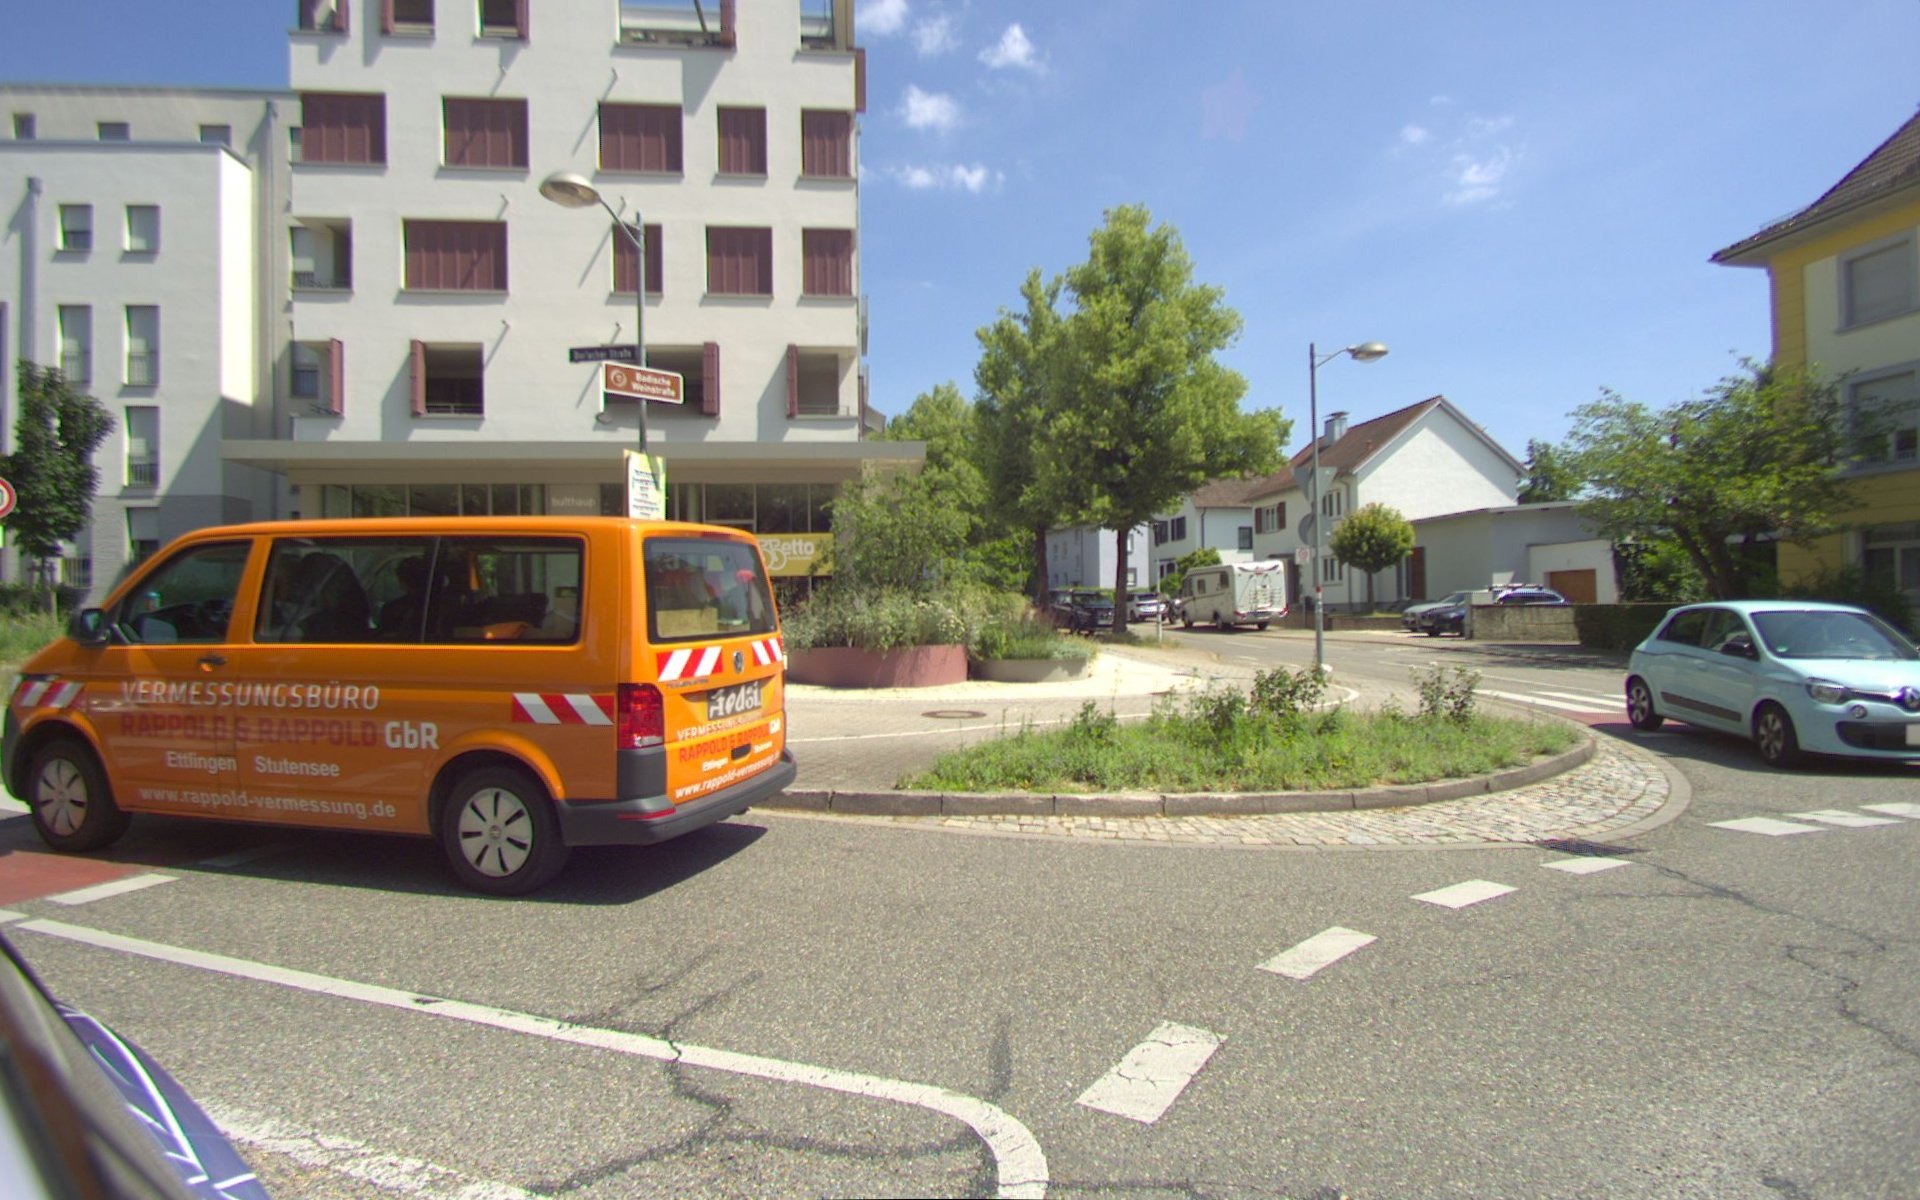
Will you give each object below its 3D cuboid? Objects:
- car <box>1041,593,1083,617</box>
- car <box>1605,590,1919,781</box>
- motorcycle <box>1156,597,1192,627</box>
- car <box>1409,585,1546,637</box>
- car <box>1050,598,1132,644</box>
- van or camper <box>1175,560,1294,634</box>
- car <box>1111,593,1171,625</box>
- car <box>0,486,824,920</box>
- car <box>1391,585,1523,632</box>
[{"bbox_3d":[6.527,0.306,65.261,1.728,1.516,4.000,0,0,-8],"label":"car"},{"bbox_3d":[8.618,0.708,10.533,1.641,1.536,4.151,-1,1,9],"label":"car"},{"bbox_3d":[9.805,0.531,46.248,0.738,1.329,2.205,0,0,38],"label":"motorcycle"},{"bbox_3d":[16.572,0.333,32.406,3.923,1.598,1.762,0,0,-22],"label":"car"},{"bbox_3d":[4.504,0.700,35.420,1.728,1.516,4.001,0,0,-10],"label":"car"},{"bbox_3d":[10.884,-0.110,40.699,2.238,2.658,5.897,-3,1,-9],"label":"van or camper"},{"bbox_3d":[8.996,0.445,50.600,1.728,1.516,4.000,0,0,-8],"label":"car"},{"bbox_3d":[-3.509,0.438,6.196,4.974,1.974,1.941,0,1,15],"label":"car"},{"bbox_3d":[17.509,0.278,35.711,3.926,1.598,1.761,0,0,-12],"label":"car"}]
